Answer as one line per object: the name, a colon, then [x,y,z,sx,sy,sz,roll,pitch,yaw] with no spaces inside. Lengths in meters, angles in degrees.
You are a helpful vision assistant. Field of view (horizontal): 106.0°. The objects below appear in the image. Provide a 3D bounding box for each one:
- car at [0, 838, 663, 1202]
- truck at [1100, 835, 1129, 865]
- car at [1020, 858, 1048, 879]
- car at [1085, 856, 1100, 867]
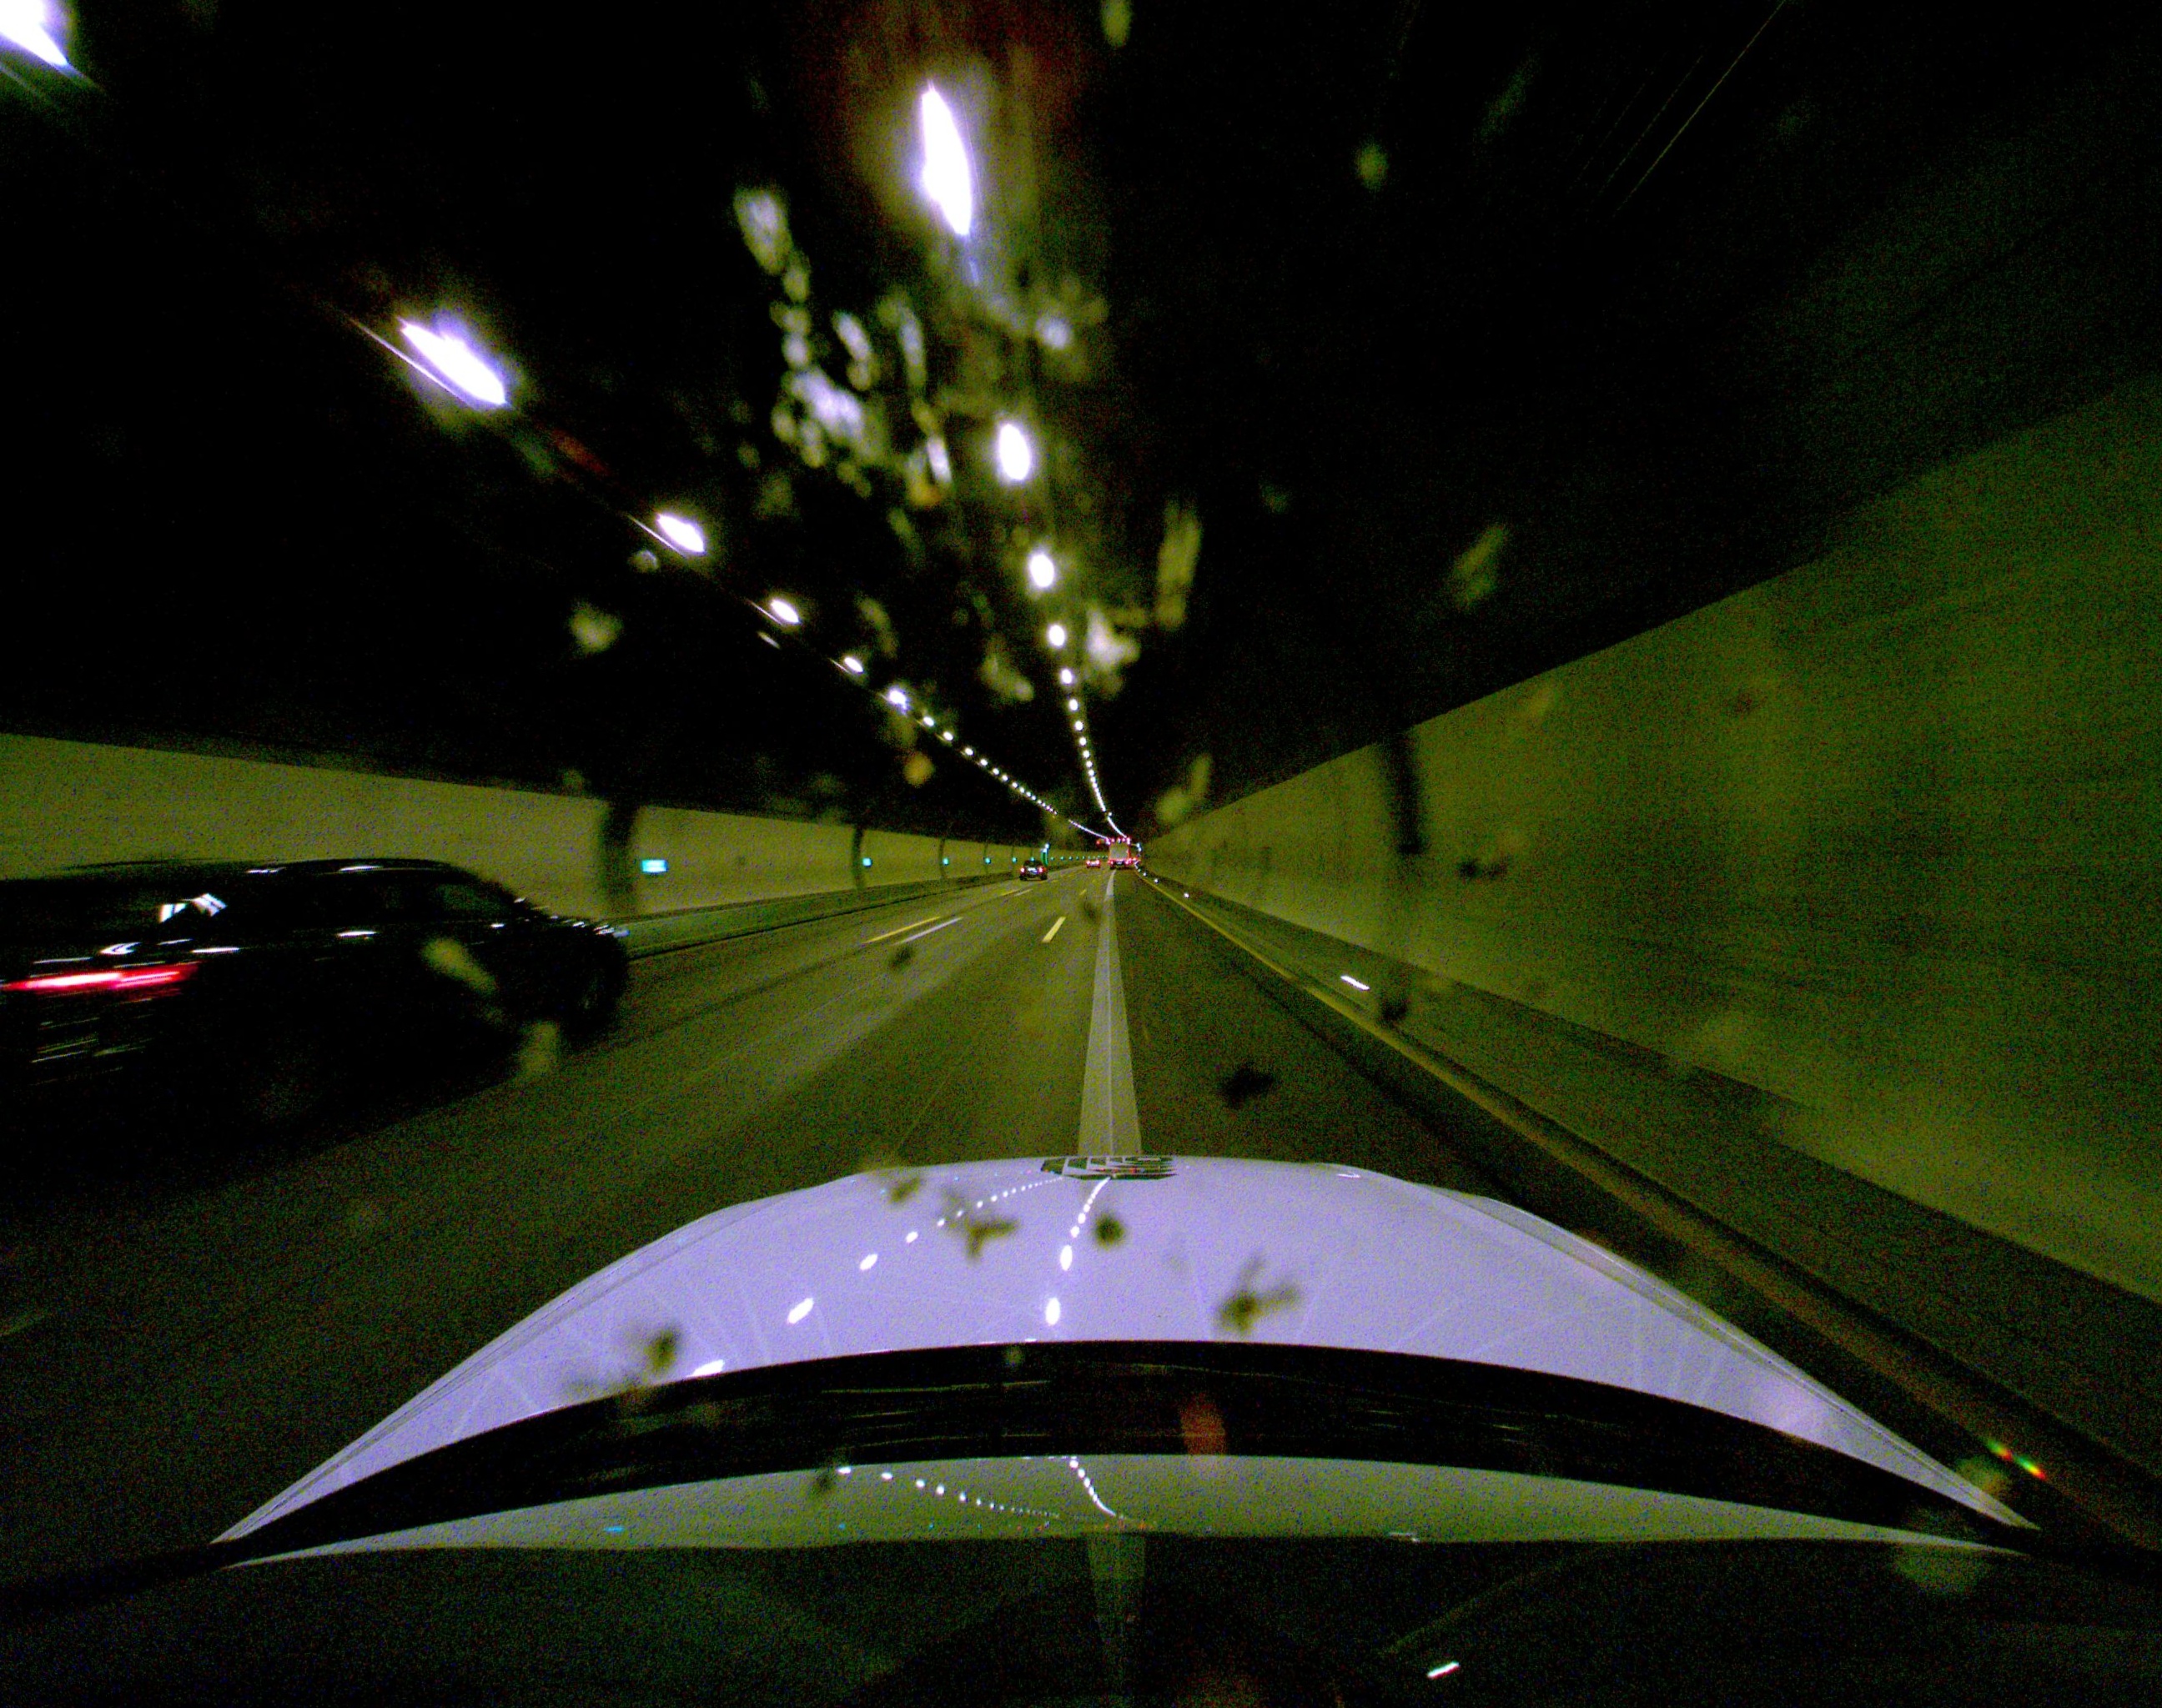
car: [-5.298,0.735,5.849,1.986,1.540,4.744,-1,0,2]
truck: [4.444,-0.485,106.896,3.578,3.650,10.728,-1,0,2]
car: [-3.265,1.003,57.262,1.683,1.417,3.923,-1,0,1]
car: [1.605,1.032,113.530,1.986,1.413,4.744,-1,0,2]
